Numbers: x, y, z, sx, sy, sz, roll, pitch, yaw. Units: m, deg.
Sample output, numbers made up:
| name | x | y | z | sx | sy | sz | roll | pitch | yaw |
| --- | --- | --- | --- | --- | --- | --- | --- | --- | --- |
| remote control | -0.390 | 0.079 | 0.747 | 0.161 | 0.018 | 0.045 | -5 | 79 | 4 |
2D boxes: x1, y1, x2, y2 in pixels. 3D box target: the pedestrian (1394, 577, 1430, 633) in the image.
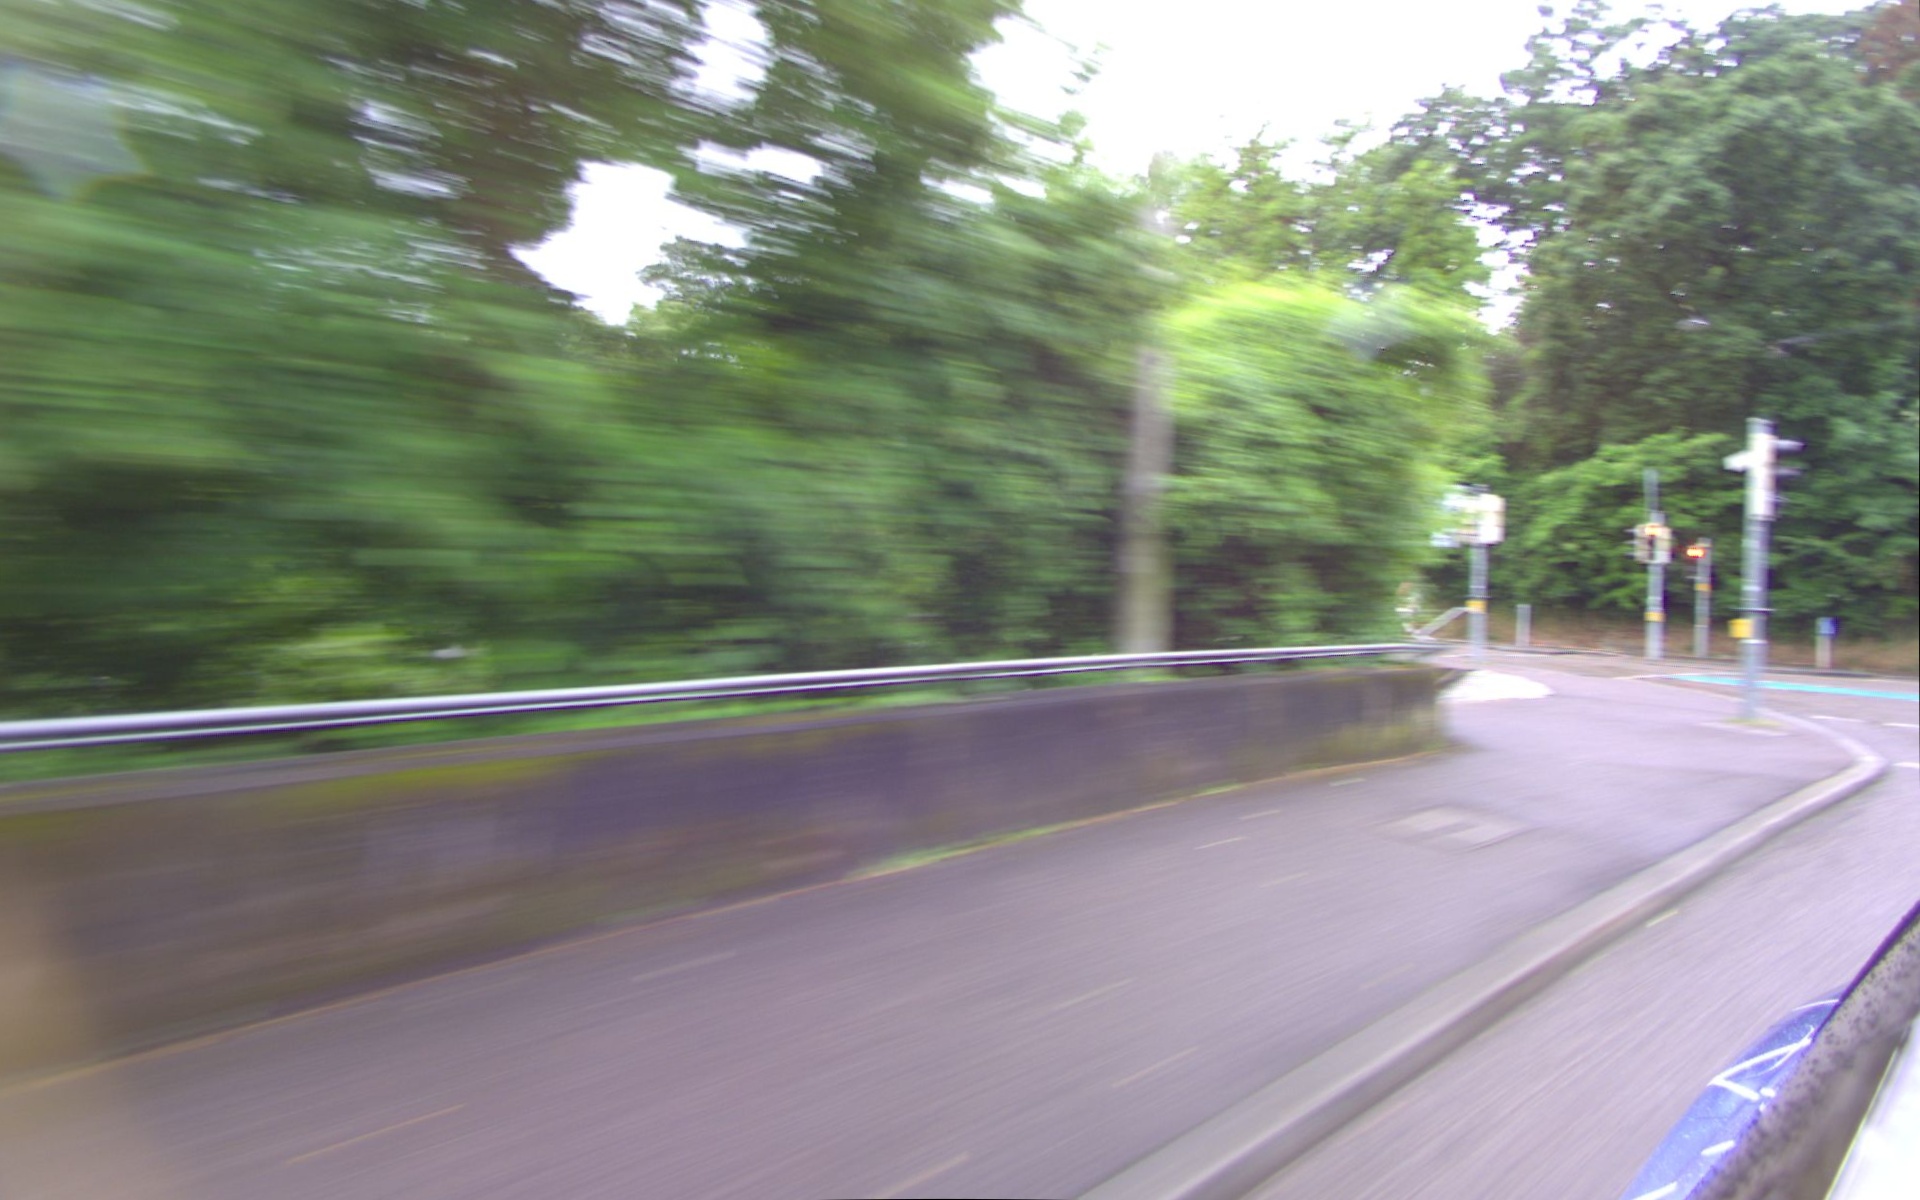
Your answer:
| name | x | y | z | sx | sy | sz | roll | pitch | yaw |
| --- | --- | --- | --- | --- | --- | --- | --- | --- | --- |
| pedestrian | 14.901 | 0.163 | 33.361 | 0.797 | 1.774 | 0.638 | 4 | -1 | 45 |

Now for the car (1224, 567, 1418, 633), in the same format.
| name | x | y | z | sx | sy | sz | roll | pitch | yaw |
| --- | --- | --- | --- | --- | --- | --- | --- | --- | --- |
| car | 9.719 | -0.044 | 27.606 | 1.853 | 1.540 | 4.692 | 2 | 1 | -36 |
